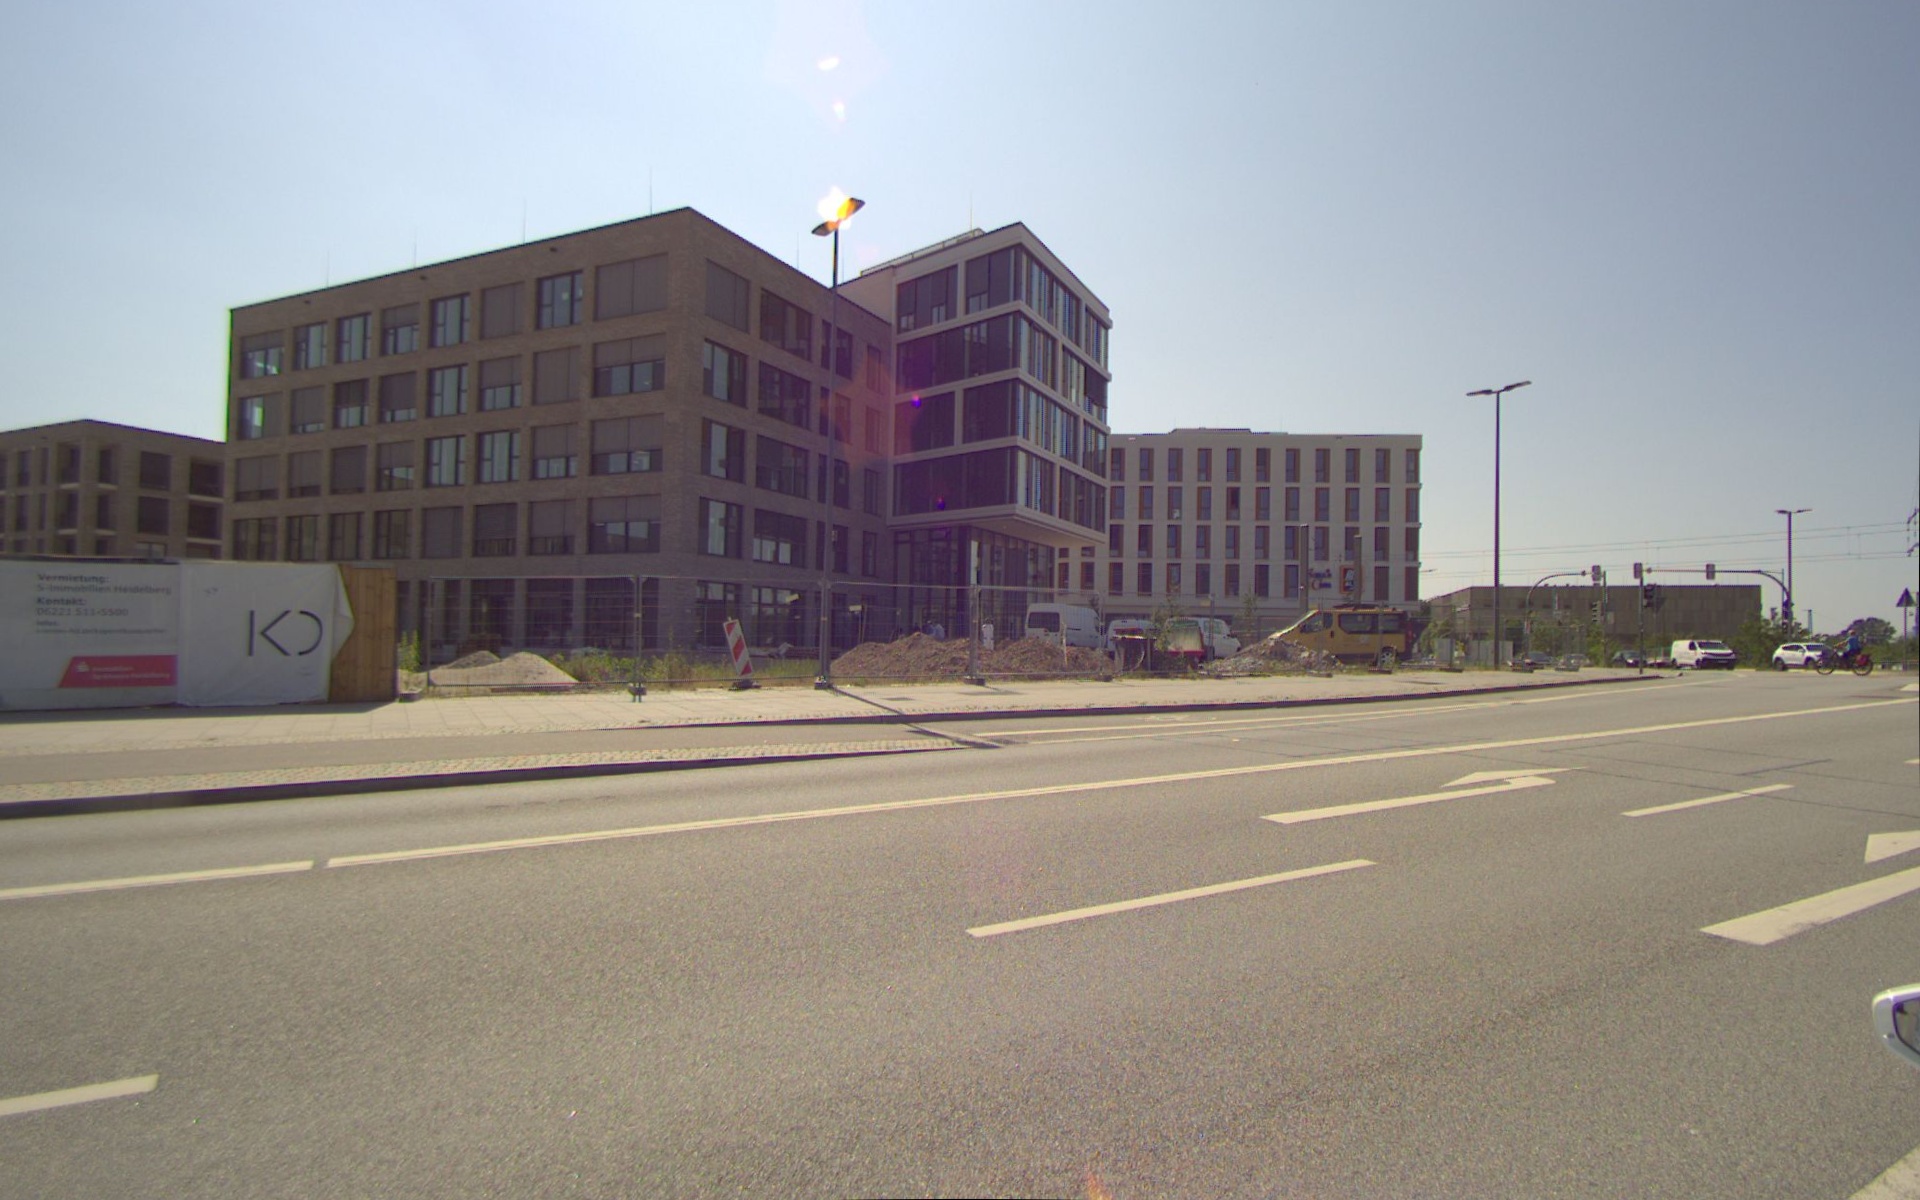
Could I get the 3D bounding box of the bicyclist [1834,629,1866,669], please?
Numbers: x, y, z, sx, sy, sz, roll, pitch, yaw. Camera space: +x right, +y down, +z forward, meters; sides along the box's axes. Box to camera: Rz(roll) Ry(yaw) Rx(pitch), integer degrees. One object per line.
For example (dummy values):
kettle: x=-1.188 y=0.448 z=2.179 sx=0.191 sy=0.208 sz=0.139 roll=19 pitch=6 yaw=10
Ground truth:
bicyclist: x=34.565 y=1.906 z=39.011 sx=0.814 sy=1.524 sz=0.715 roll=2 pitch=0 yaw=-30

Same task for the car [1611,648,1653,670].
car: x=50.532 y=4.445 z=75.584 sx=1.633 sy=1.408 sz=3.788 roll=2 pitch=0 yaw=18

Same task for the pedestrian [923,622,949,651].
pedestrian: x=-1.189 y=1.790 z=49.836 sx=1.098 sy=1.391 sz=0.742 roll=2 pitch=0 yaw=-17

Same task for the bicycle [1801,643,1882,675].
bicycle: x=34.409 y=2.277 z=39.251 sx=0.629 sy=1.148 sz=2.309 roll=2 pitch=-1 yaw=-29

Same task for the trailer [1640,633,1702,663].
trailer: x=48.439 y=3.252 z=68.518 sx=1.960 sy=1.799 sz=4.288 roll=2 pitch=0 yaw=14

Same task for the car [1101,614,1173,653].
car: x=7.803 y=1.452 z=44.025 sx=1.774 sy=1.528 sz=3.991 roll=2 pitch=0 yaw=31

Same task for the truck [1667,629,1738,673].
truck: x=47.353 y=3.214 z=64.202 sx=1.959 sy=2.574 sz=4.711 roll=1 pitch=-1 yaw=14

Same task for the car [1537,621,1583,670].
car: x=27.000 y=2.006 z=45.298 sx=1.645 sy=2.040 sz=3.993 roll=2 pitch=0 yaw=30

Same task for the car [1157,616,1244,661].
car: x=10.241 y=1.587 z=42.520 sx=1.969 sy=1.730 sz=4.545 roll=2 pitch=0 yaw=35

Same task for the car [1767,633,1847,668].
car: x=49.612 y=2.941 z=58.918 sx=1.892 sy=1.839 sz=4.049 roll=1 pitch=-1 yaw=13

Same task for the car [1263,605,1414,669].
car: x=12.757 y=1.218 z=34.115 sx=4.395 sy=1.915 sz=2.001 roll=2 pitch=0 yaw=9

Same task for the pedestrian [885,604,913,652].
pedestrian: x=-2.675 y=1.216 z=43.791 sx=0.949 sy=2.040 sz=0.940 roll=2 pitch=0 yaw=-17

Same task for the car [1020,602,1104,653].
car: x=4.639 y=1.208 z=45.065 sx=2.175 sy=2.083 sz=4.164 roll=2 pitch=0 yaw=30

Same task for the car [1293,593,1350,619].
car: x=29.593 y=0.475 z=82.260 sx=1.986 sy=2.040 sz=3.949 roll=2 pitch=0 yaw=-43
